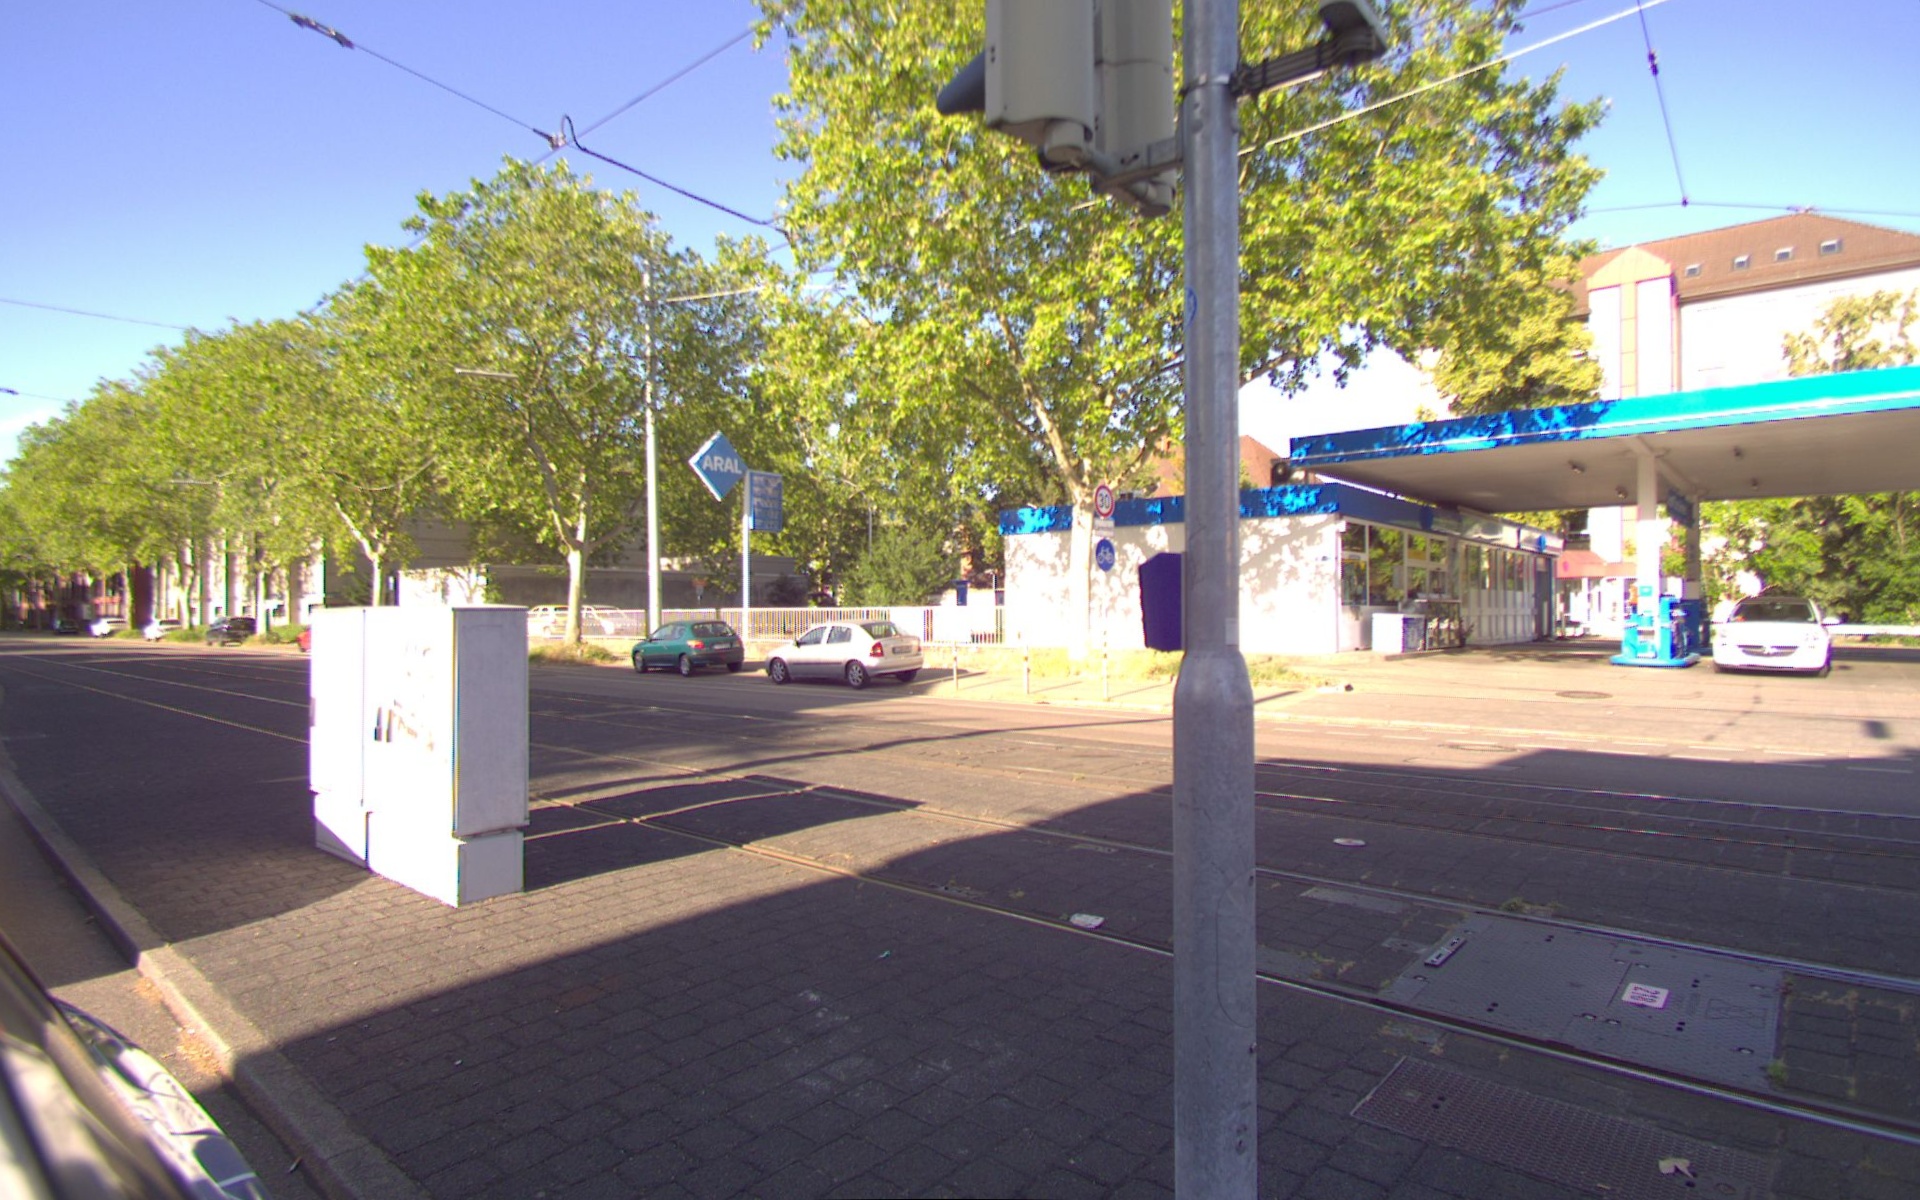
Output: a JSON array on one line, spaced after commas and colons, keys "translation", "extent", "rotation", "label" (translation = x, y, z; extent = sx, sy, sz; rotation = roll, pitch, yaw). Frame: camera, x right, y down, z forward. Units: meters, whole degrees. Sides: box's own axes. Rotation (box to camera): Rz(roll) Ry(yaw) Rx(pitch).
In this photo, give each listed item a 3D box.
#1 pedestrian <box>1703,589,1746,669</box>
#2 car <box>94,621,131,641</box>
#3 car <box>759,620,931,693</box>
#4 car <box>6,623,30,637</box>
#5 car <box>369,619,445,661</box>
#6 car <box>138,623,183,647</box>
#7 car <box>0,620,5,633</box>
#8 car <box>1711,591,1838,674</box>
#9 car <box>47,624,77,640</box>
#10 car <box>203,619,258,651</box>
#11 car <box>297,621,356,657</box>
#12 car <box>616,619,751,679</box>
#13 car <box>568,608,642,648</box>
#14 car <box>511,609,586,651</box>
[{"translation": [16.727, 0.629, 22.144], "extent": [0.493, 1.714, 0.649], "rotation": [1, -2, -45], "label": "pedestrian"}, {"translation": [-66.680, 2.444, 79.586], "extent": [3.748, 1.459, 1.674], "rotation": [-1, 1, 41], "label": "car"}, {"translation": [-2.633, 1.202, 22.629], "extent": [3.812, 1.413, 1.674], "rotation": [-1, 1, 41], "label": "car"}, {"translation": [-112.145, 3.562, 120.480], "extent": [3.748, 1.459, 1.674], "rotation": [-1, 1, 41], "label": "car"}, {"translation": [-21.875, 1.555, 39.986], "extent": [3.303, 1.519, 1.579], "rotation": [-1, 1, 41], "label": "car"}, {"translation": [-53.862, 2.340, 68.159], "extent": [3.748, 1.459, 1.674], "rotation": [-1, 1, 41], "label": "car"}, {"translation": [-133.938, 3.677, 140.444], "extent": [3.748, 1.798, 1.674], "rotation": [-1, 1, 41], "label": "car"}, {"translation": [15.889, 0.607, 19.684], "extent": [1.757, 1.453, 3.521], "rotation": [-1, -1, 41], "label": "car"}, {"translation": [-85.243, 3.028, 96.021], "extent": [3.748, 1.459, 1.674], "rotation": [-1, 1, 41], "label": "car"}, {"translation": [-40.676, 1.937, 56.435], "extent": [3.748, 1.670, 1.674], "rotation": [-1, 1, 41], "label": "car"}, {"translation": [-28.685, 1.753, 45.813], "extent": [2.621, 1.519, 1.579], "rotation": [-1, 1, 41], "label": "car"}, {"translation": [-7.398, 1.263, 26.957], "extent": [3.748, 1.413, 1.674], "rotation": [-1, 1, 41], "label": "car"}, {"translation": [-15.264, 1.193, 43.432], "extent": [3.303, 1.604, 1.579], "rotation": [-1, 0, 41], "label": "car"}, {"translation": [-17.083, 1.228, 41.955], "extent": [3.303, 1.628, 1.579], "rotation": [-1, 0, 41], "label": "car"}]
